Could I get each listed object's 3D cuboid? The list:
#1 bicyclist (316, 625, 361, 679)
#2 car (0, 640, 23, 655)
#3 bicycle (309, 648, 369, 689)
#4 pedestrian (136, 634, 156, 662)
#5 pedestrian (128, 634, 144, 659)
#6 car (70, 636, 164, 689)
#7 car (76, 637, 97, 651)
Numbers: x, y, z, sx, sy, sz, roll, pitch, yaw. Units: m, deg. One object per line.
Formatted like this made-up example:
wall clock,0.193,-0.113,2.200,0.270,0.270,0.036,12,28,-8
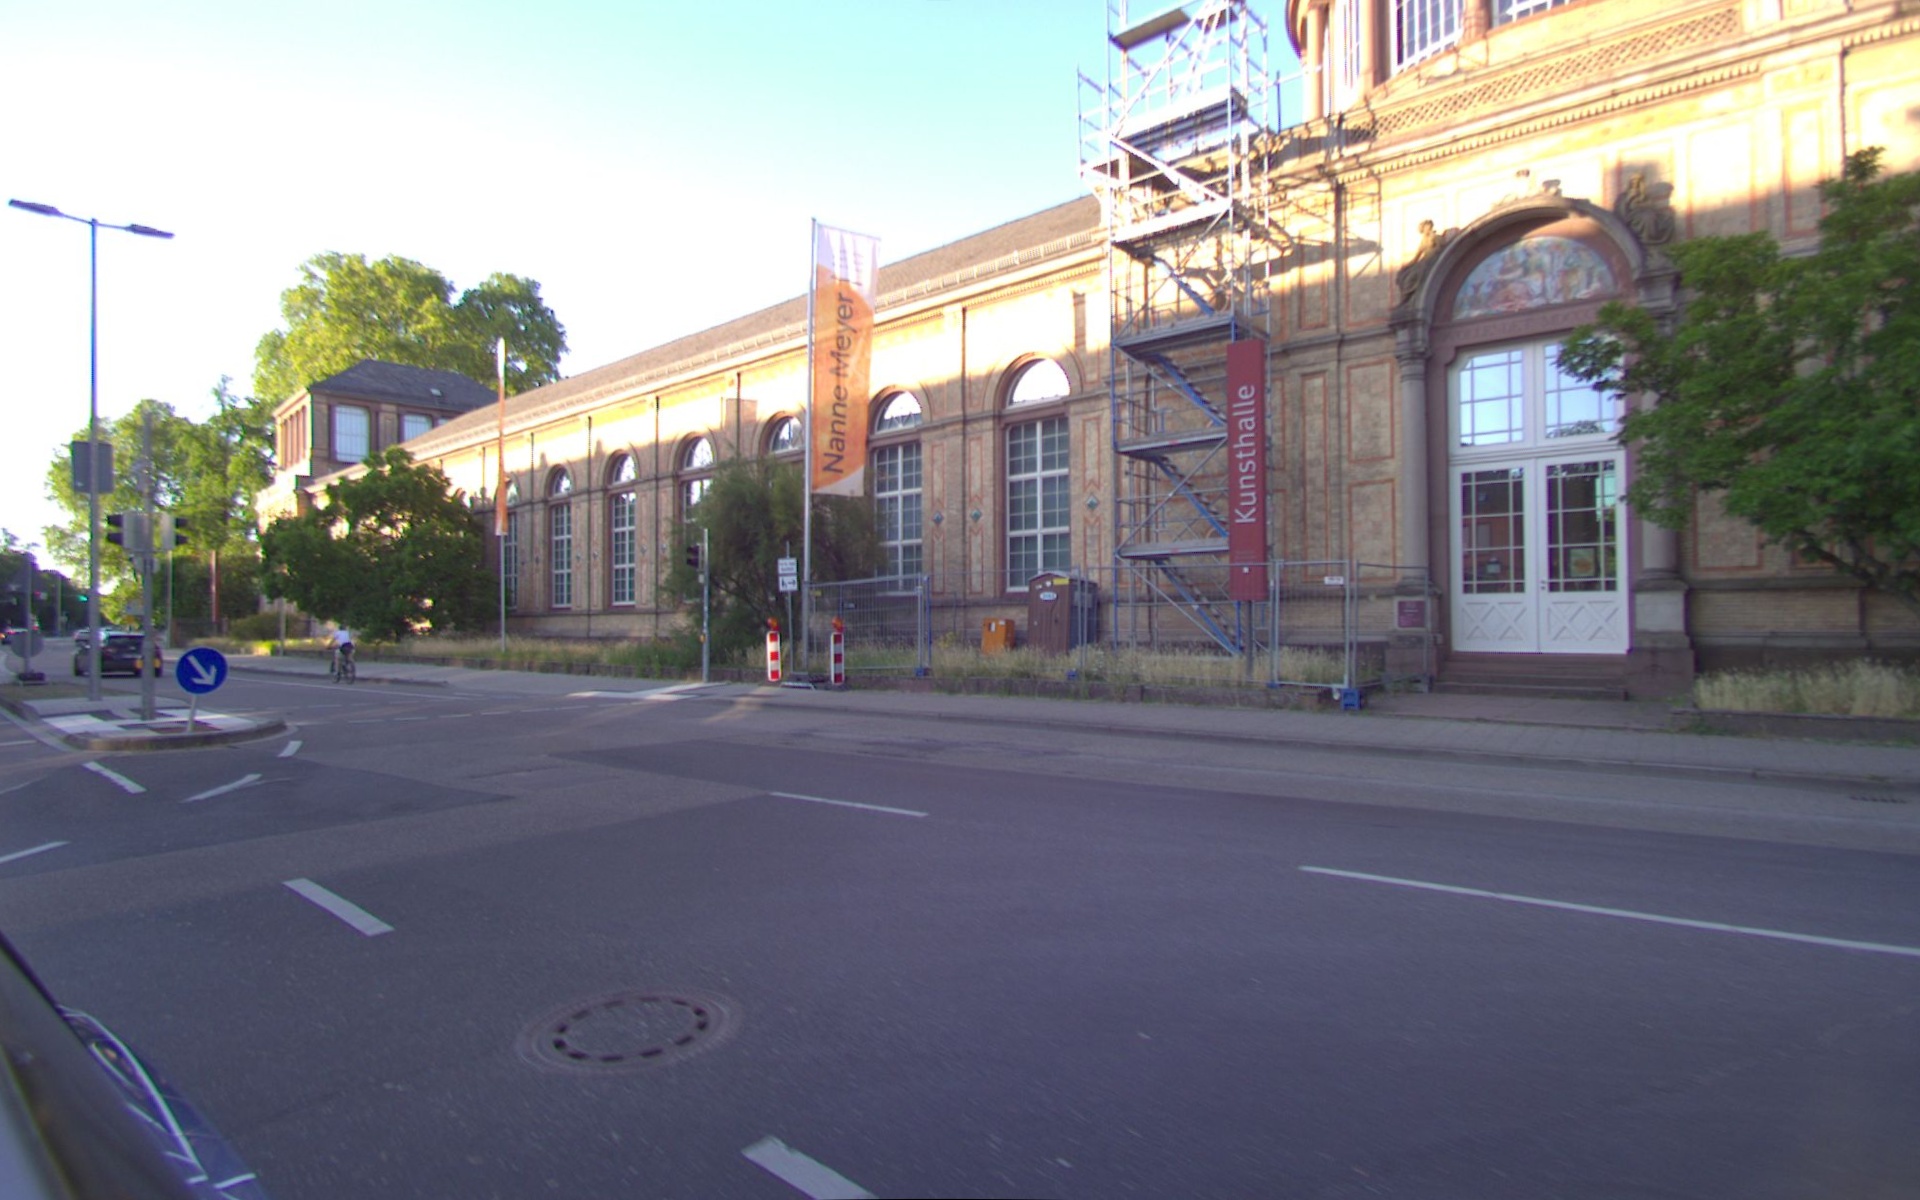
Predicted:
bicyclist,-17.417,1.458,28.368,0.935,1.471,0.740,-2,-3,37
car,-96.309,4.806,102.617,1.750,1.475,4.005,2,-3,-42
bicycle,-17.401,1.899,28.342,1.929,1.099,0.746,-2,-4,37
pedestrian,-51.080,3.011,63.507,0.795,1.751,0.852,-1,-1,-22
pedestrian,-51.484,2.909,63.218,0.666,1.524,0.836,-2,-2,-44
car,-27.058,1.955,32.441,4.427,1.519,1.803,-2,-2,43
car,-107.195,5.405,124.225,1.892,1.697,4.007,0,-2,-40
